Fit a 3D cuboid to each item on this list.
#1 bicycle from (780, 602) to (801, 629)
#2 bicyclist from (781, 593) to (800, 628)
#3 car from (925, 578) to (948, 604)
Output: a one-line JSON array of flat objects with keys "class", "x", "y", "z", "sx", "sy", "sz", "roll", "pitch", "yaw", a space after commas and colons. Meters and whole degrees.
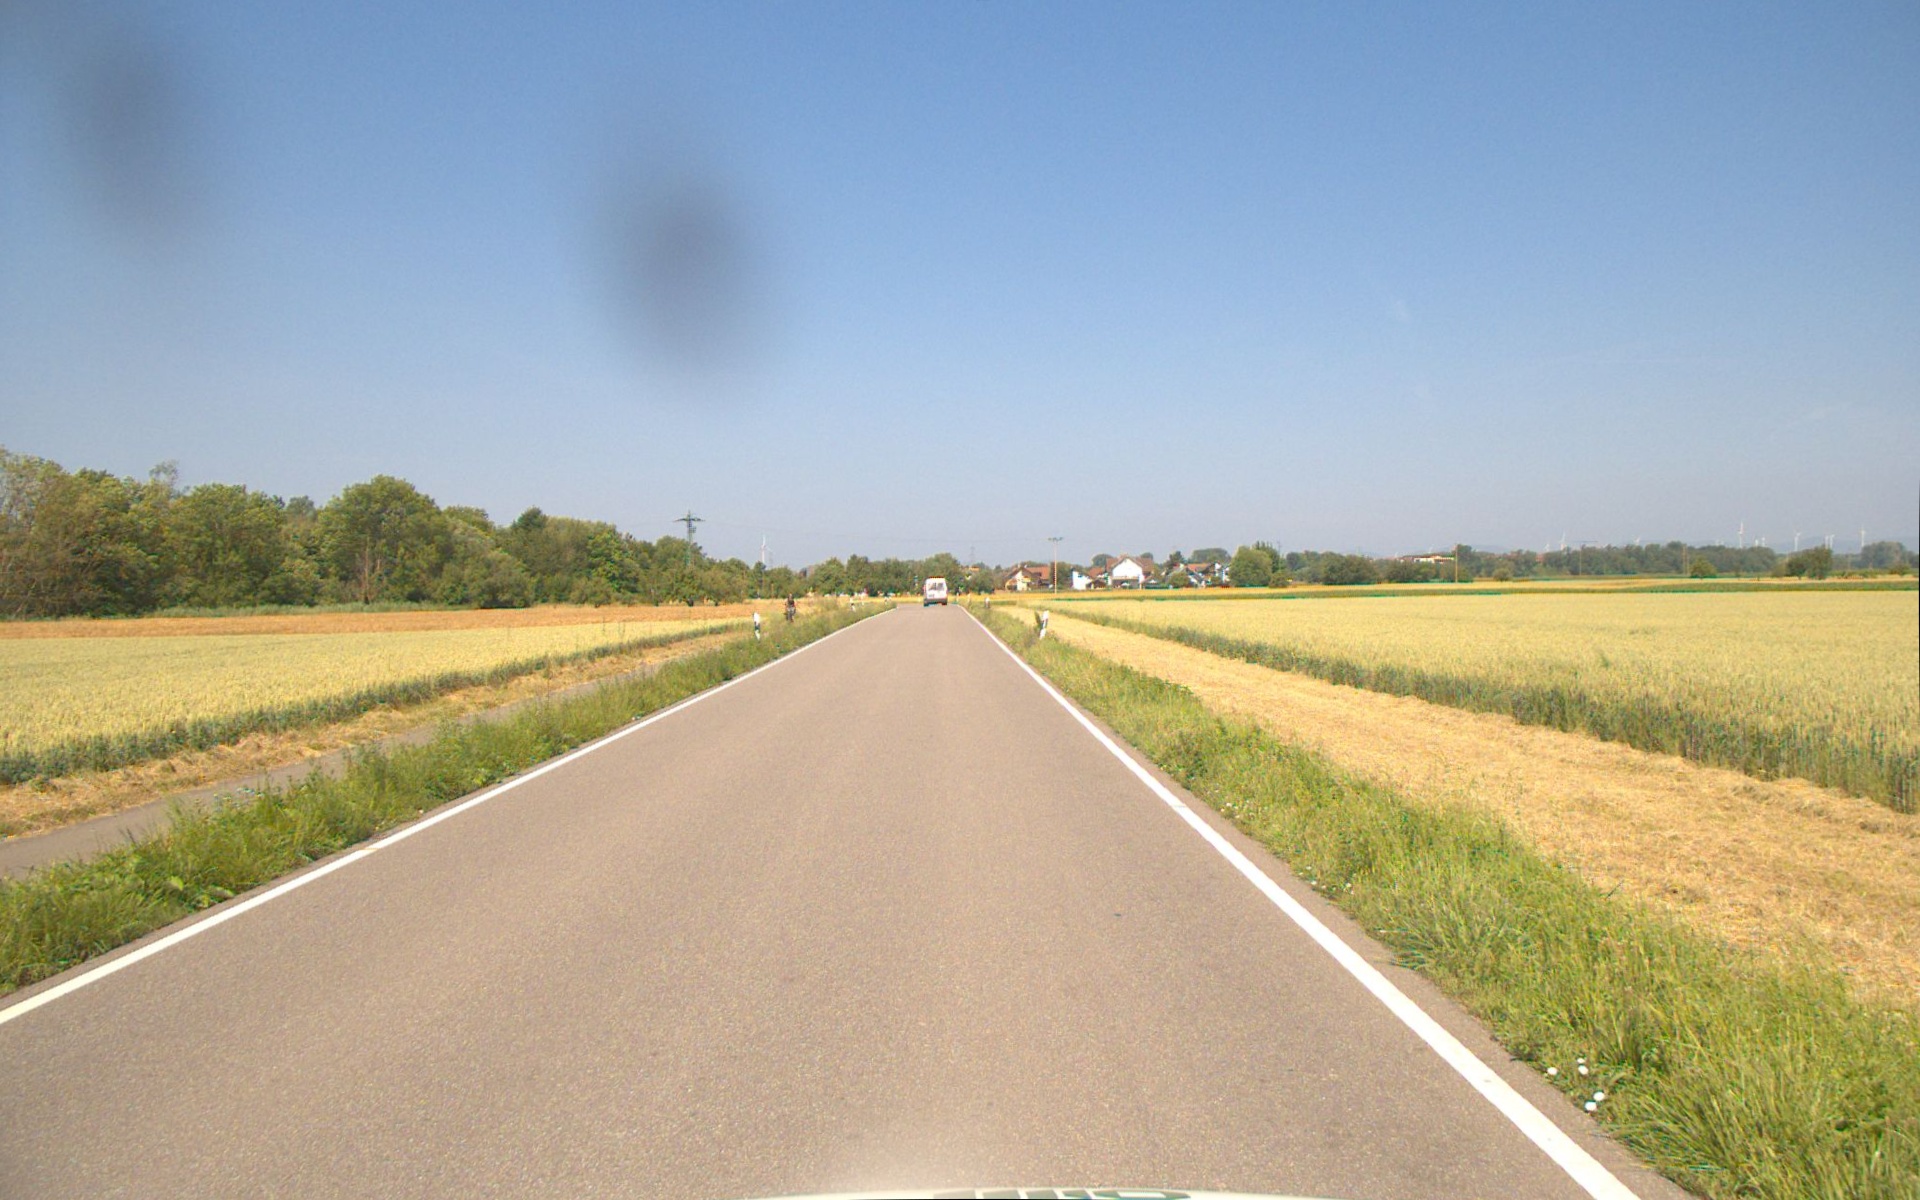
[{"class": "bicycle", "x": -8.277, "y": 0.740, "z": 80.848, "sx": 0.744, "sy": 1.257, "sz": 2.393, "roll": -3, "pitch": 0, "yaw": -1}, {"class": "bicyclist", "x": -8.268, "y": 0.502, "z": 80.715, "sx": 0.744, "sy": 1.702, "sz": 1.088, "roll": -2, "pitch": 0, "yaw": -1}, {"class": "car", "x": -2.192, "y": -0.868, "z": 155.180, "sx": 2.064, "sy": 2.344, "sz": 5.494, "roll": 1, "pitch": 0, "yaw": -1}]
